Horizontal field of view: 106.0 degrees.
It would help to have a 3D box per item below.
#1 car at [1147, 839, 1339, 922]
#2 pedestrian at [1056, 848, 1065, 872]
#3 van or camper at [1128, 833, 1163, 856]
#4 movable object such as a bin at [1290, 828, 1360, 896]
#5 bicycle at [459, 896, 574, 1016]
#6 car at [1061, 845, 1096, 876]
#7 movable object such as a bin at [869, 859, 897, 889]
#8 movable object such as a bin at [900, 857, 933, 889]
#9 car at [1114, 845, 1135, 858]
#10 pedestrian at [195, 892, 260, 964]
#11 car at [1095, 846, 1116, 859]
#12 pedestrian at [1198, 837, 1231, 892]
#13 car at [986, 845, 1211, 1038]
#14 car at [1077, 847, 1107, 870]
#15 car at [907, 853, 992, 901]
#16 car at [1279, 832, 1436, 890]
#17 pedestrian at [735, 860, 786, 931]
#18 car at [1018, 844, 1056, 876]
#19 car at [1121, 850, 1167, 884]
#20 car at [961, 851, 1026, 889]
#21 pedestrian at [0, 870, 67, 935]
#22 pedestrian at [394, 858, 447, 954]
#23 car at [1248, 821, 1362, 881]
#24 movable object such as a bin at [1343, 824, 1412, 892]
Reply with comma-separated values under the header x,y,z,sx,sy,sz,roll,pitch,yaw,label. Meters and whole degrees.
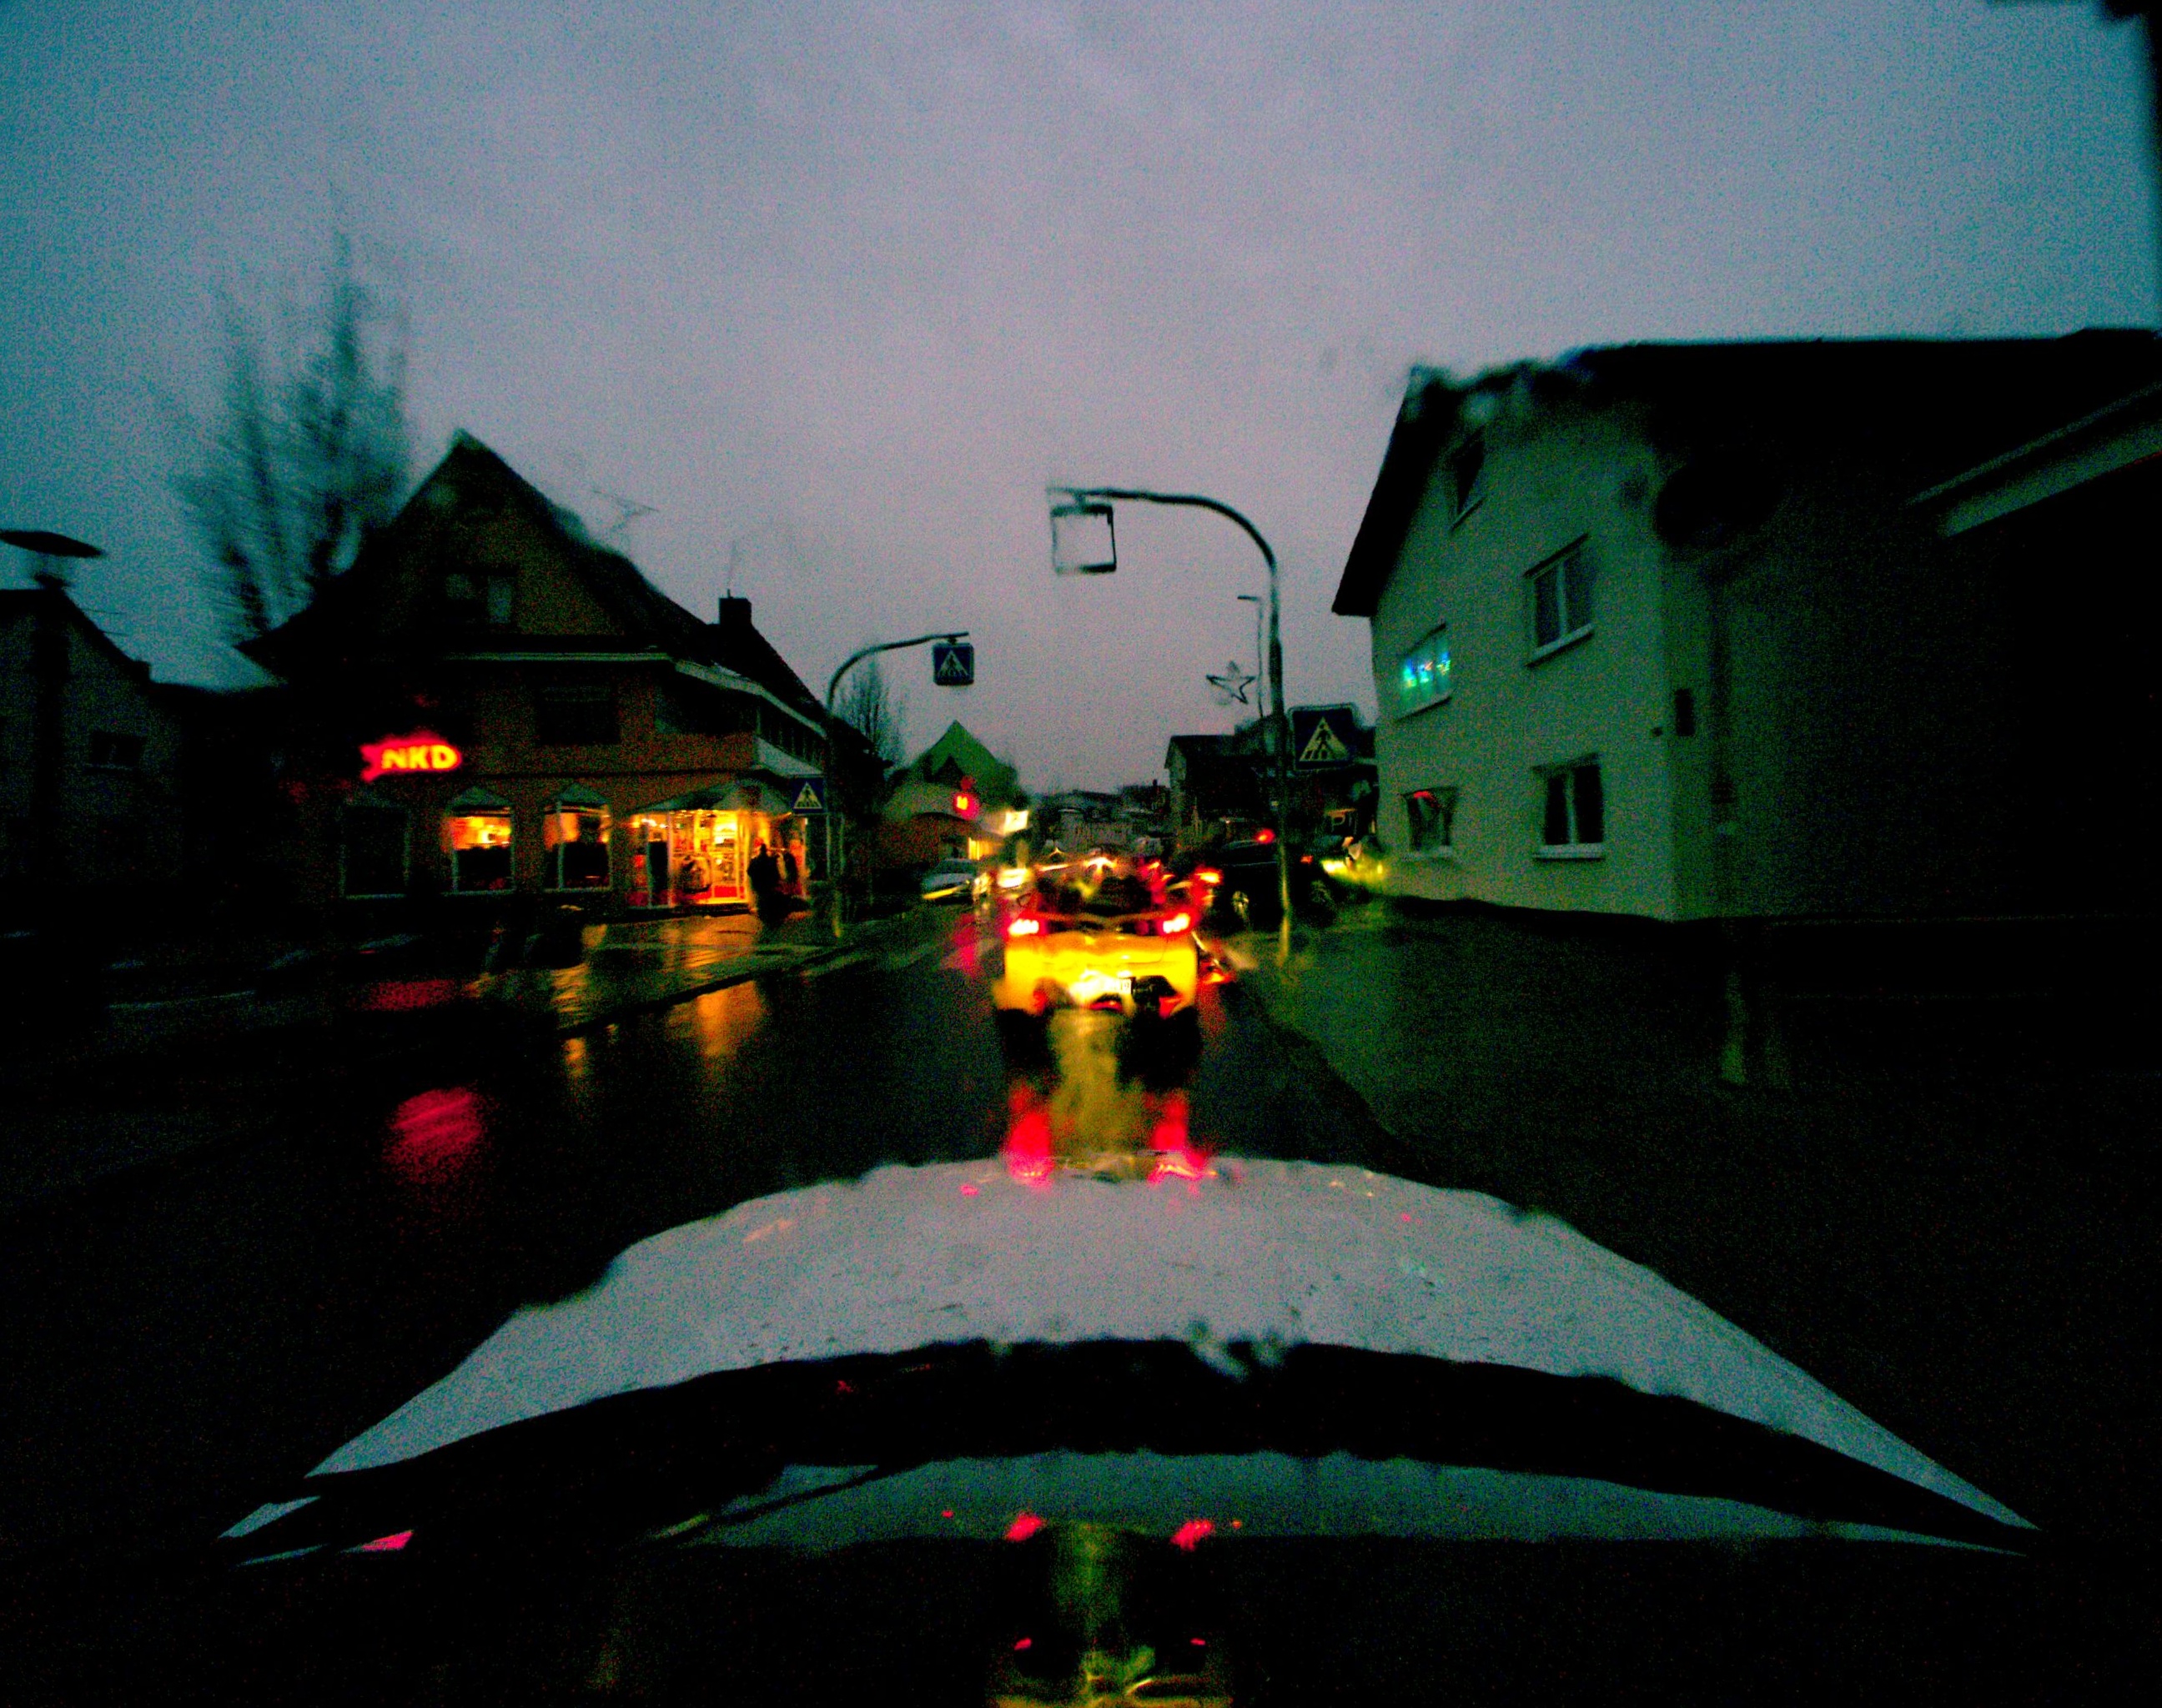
x,y,z,sx,sy,sz,roll,pitch,yaw,label
3.607,0.505,17.885,4.018,1.625,1.977,0,0,-37,car
-1.338,0.390,53.030,0.572,1.585,0.530,-2,1,1,pedestrian
9.567,-1.395,121.745,2.660,3.047,6.690,-5,1,-19,van or camper
6.364,0.196,21.352,1.388,1.644,1.262,-4,0,0,movable object such as a bin
-6.253,1.082,9.115,0.324,1.061,1.737,-6,3,-13,bicycle
-0.122,0.360,51.032,1.986,1.705,4.969,1,1,1,car
-9.271,0.926,38.187,1.149,1.354,0.849,-1,0,-7,movable object such as a bin
-7.736,0.890,38.320,1.339,1.354,0.887,-4,0,-6,movable object such as a bin
6.452,-0.353,121.108,1.994,1.610,4.158,-3,-1,-11,car
-15.899,1.362,15.178,0.815,1.245,0.691,0,0,33,pedestrian
3.587,-0.251,120.876,1.996,1.765,4.331,-3,1,-13,car
4.730,0.360,28.810,0.964,1.889,1.005,0,0,-2,pedestrian
0.294,0.701,8.548,1.806,1.533,4.005,0,0,4,car
0.896,0.365,68.446,1.949,1.546,4.409,3,2,-5,car
-4.568,0.738,29.018,1.985,1.558,4.626,0,0,4,car
7.963,0.214,23.791,3.967,1.486,1.916,-2,-1,6,car
-7.674,0.968,19.550,0.824,1.658,1.096,0,0,-4,pedestrian
-2.608,0.337,49.361,2.080,1.792,5.022,-1,1,-1,car
3.078,0.606,40.595,1.987,1.588,4.000,0,0,0,car
-3.795,0.658,36.207,1.985,1.522,4.983,-1,0,4,car
-28.581,1.293,22.154,0.917,1.715,0.838,0,0,-10,pedestrian
-14.421,1.106,17.782,0.815,2.013,0.741,0,0,40,pedestrian
8.674,-0.106,31.834,4.064,2.049,2.006,-3,0,11,car
7.716,0.088,21.260,1.281,1.644,1.185,-4,0,0,movable object such as a bin
